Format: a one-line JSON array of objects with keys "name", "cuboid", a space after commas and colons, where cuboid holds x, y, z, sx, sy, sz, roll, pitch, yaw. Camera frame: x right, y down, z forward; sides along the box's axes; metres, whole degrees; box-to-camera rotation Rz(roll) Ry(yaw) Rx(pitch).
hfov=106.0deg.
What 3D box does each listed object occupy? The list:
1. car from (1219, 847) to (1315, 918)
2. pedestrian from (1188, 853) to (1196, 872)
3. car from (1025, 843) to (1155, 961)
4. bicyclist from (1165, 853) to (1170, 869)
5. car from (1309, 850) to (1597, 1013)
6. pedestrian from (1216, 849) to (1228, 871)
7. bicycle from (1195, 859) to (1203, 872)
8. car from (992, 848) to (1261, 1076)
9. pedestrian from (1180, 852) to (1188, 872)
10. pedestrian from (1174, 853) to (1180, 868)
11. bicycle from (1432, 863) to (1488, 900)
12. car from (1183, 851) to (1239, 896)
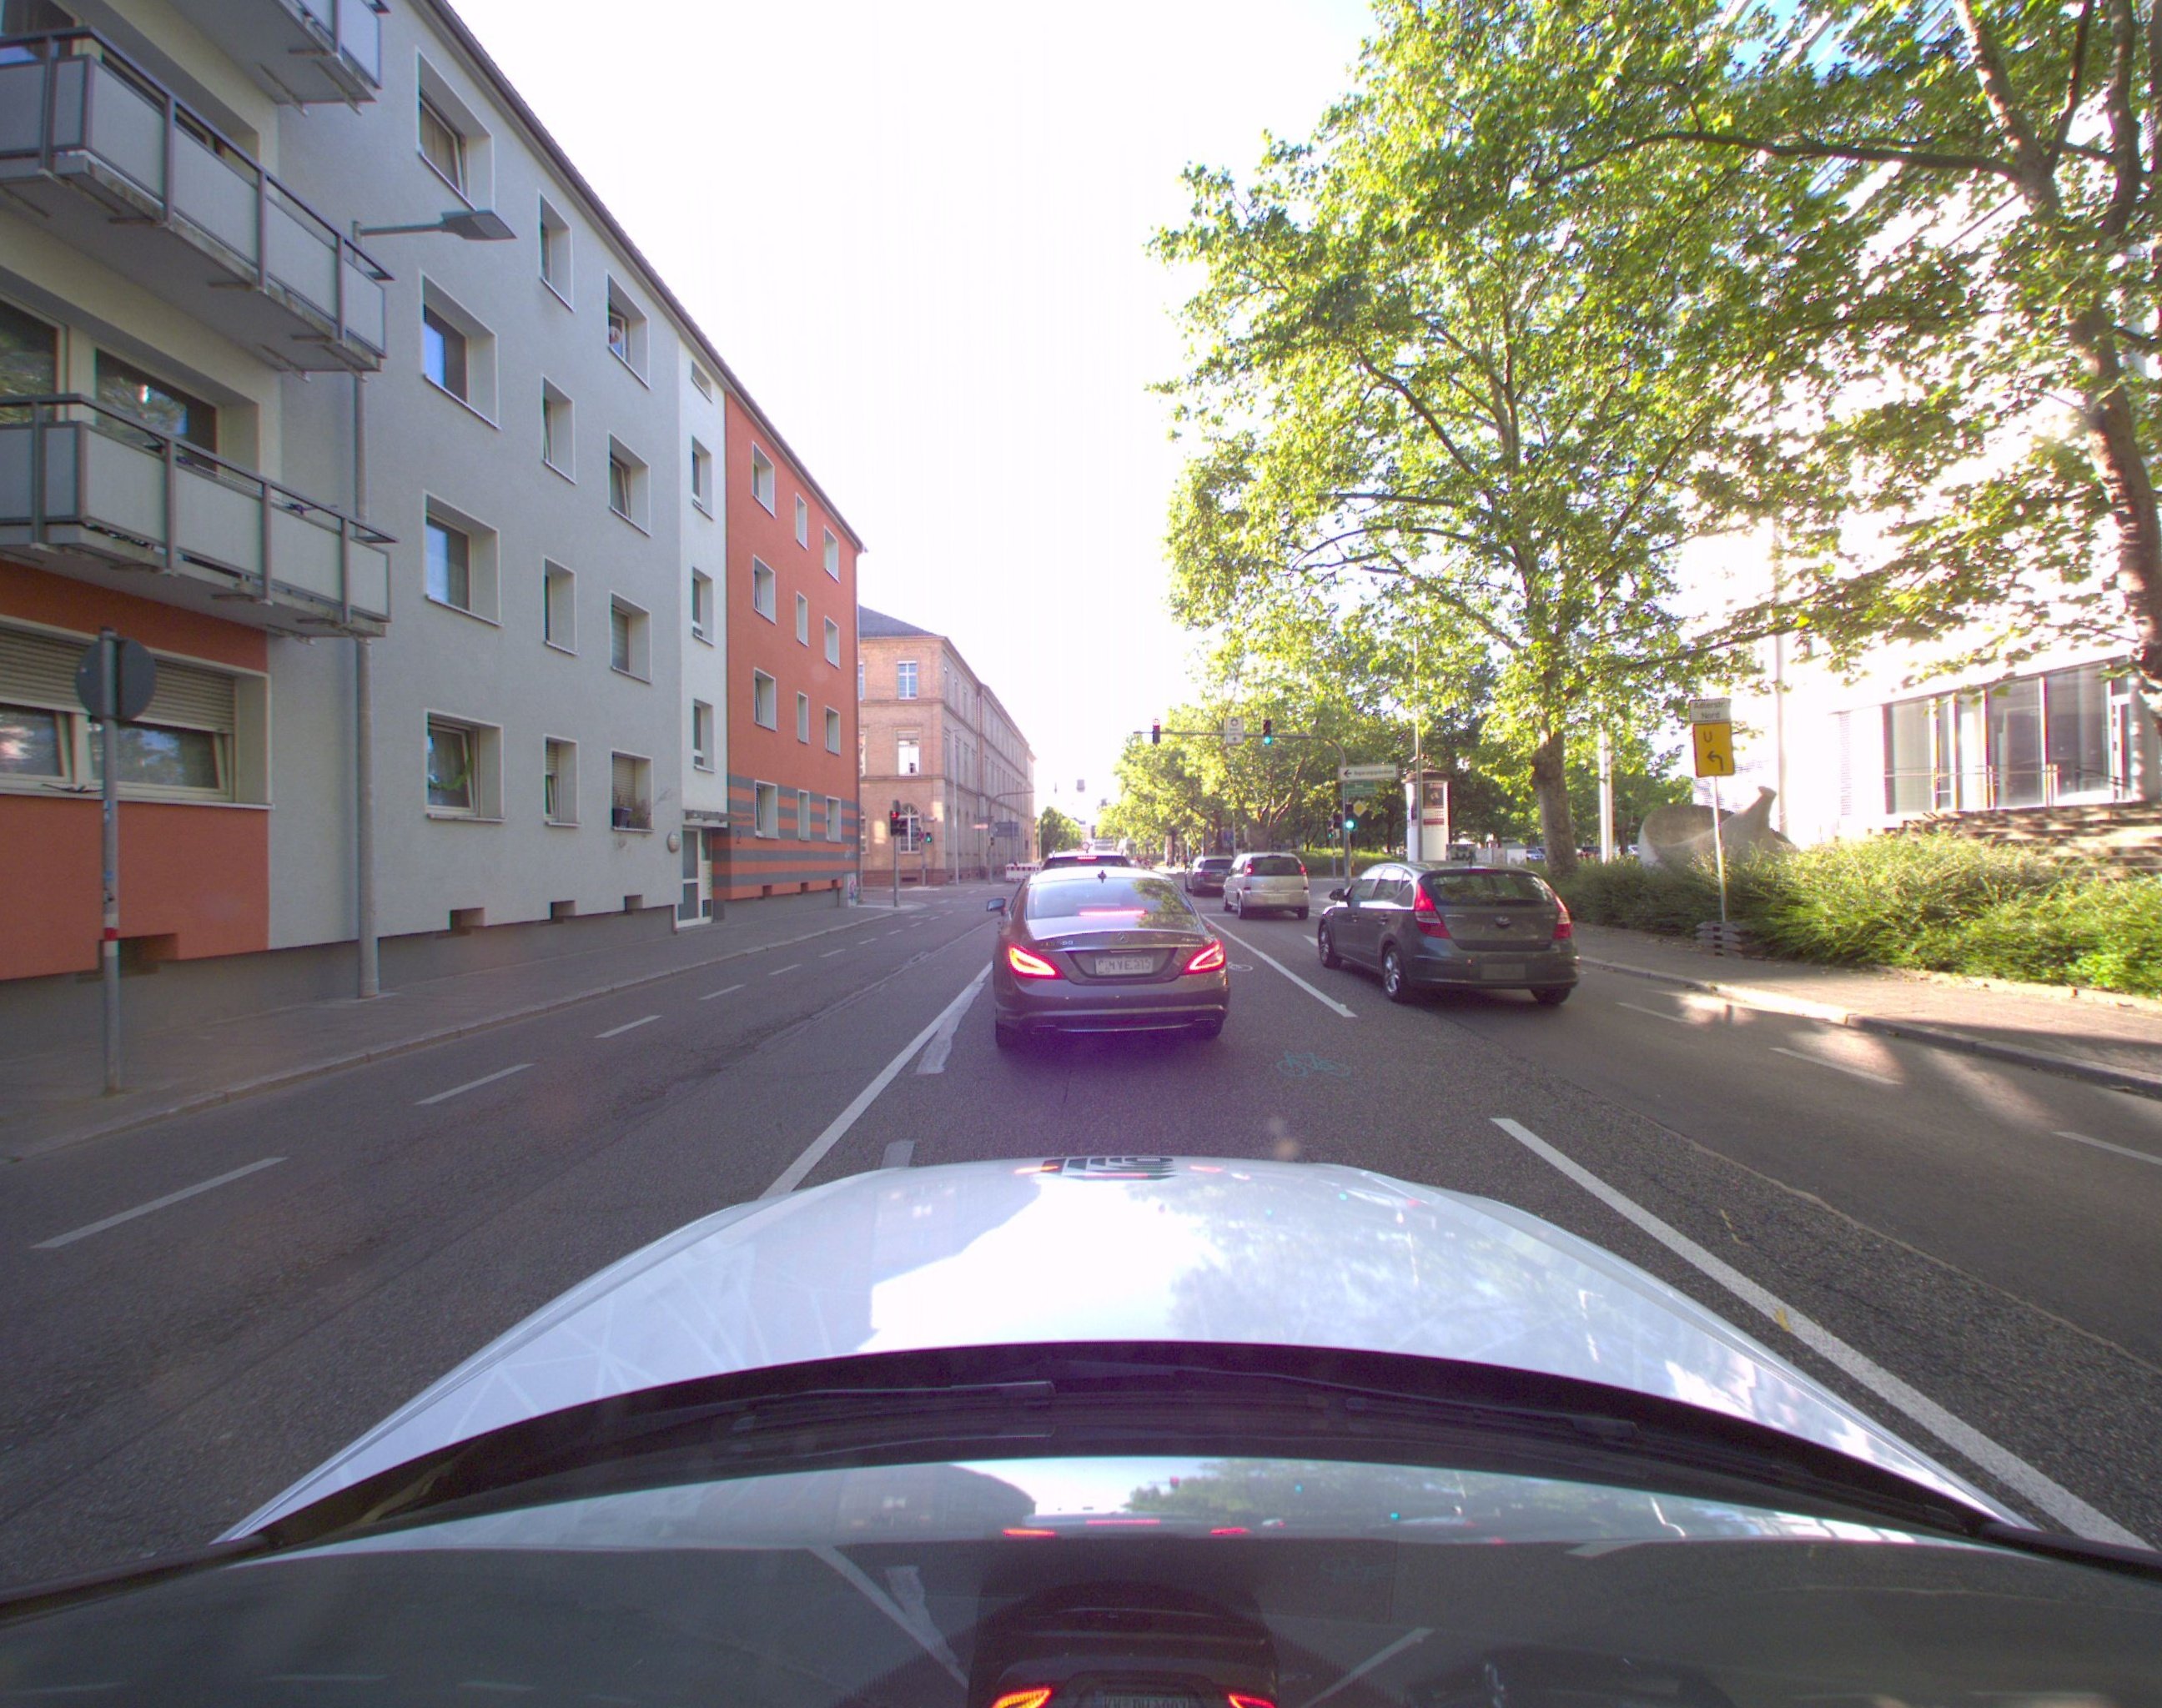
[{"name": "car", "cuboid": [4.648, 0.681, 20.869, 1.725, 1.662, 3.682, 0, -1, 2]}, {"name": "pedestrian", "cuboid": [10.252, 0.748, 75.319, 0.634, 1.760, 0.698, 0, -1, -2]}, {"name": "car", "cuboid": [0.190, 0.695, 13.731, 1.854, 1.682, 4.002, -1, 0, 2]}, {"name": "bicyclist", "cuboid": [11.147, 0.849, 104.957, 0.593, 2.039, 0.566, 0, -1, -3]}, {"name": "car", "cuboid": [4.065, 0.733, 9.691, 1.698, 1.519, 4.002, -1, 0, 2]}, {"name": "pedestrian", "cuboid": [9.910, 0.451, 57.367, 0.634, 1.545, 0.909, 0, -1, -2]}, {"name": "bicycle", "cuboid": [10.872, 1.024, 75.083, 0.480, 1.202, 1.607, 0, -1, 2]}, {"name": "car", "cuboid": [0.142, 0.736, 7.596, 1.859, 1.519, 3.992, -1, 0, -6]}, {"name": "pedestrian", "cuboid": [9.549, 0.735, 75.379, 0.634, 1.797, 0.698, 0, -1, -2]}, {"name": "pedestrian", "cuboid": [10.151, 0.670, 86.061, 0.554, 1.509, 0.345, 0, -1, -3]}, {"name": "bicycle", "cuboid": [10.981, 0.778, 23.571, 1.895, 1.028, 0.635, 0, -1, -36]}, {"name": "car", "cuboid": [4.779, 0.707, 30.398, 1.595, 1.549, 3.682, 0, -1, 2]}]
